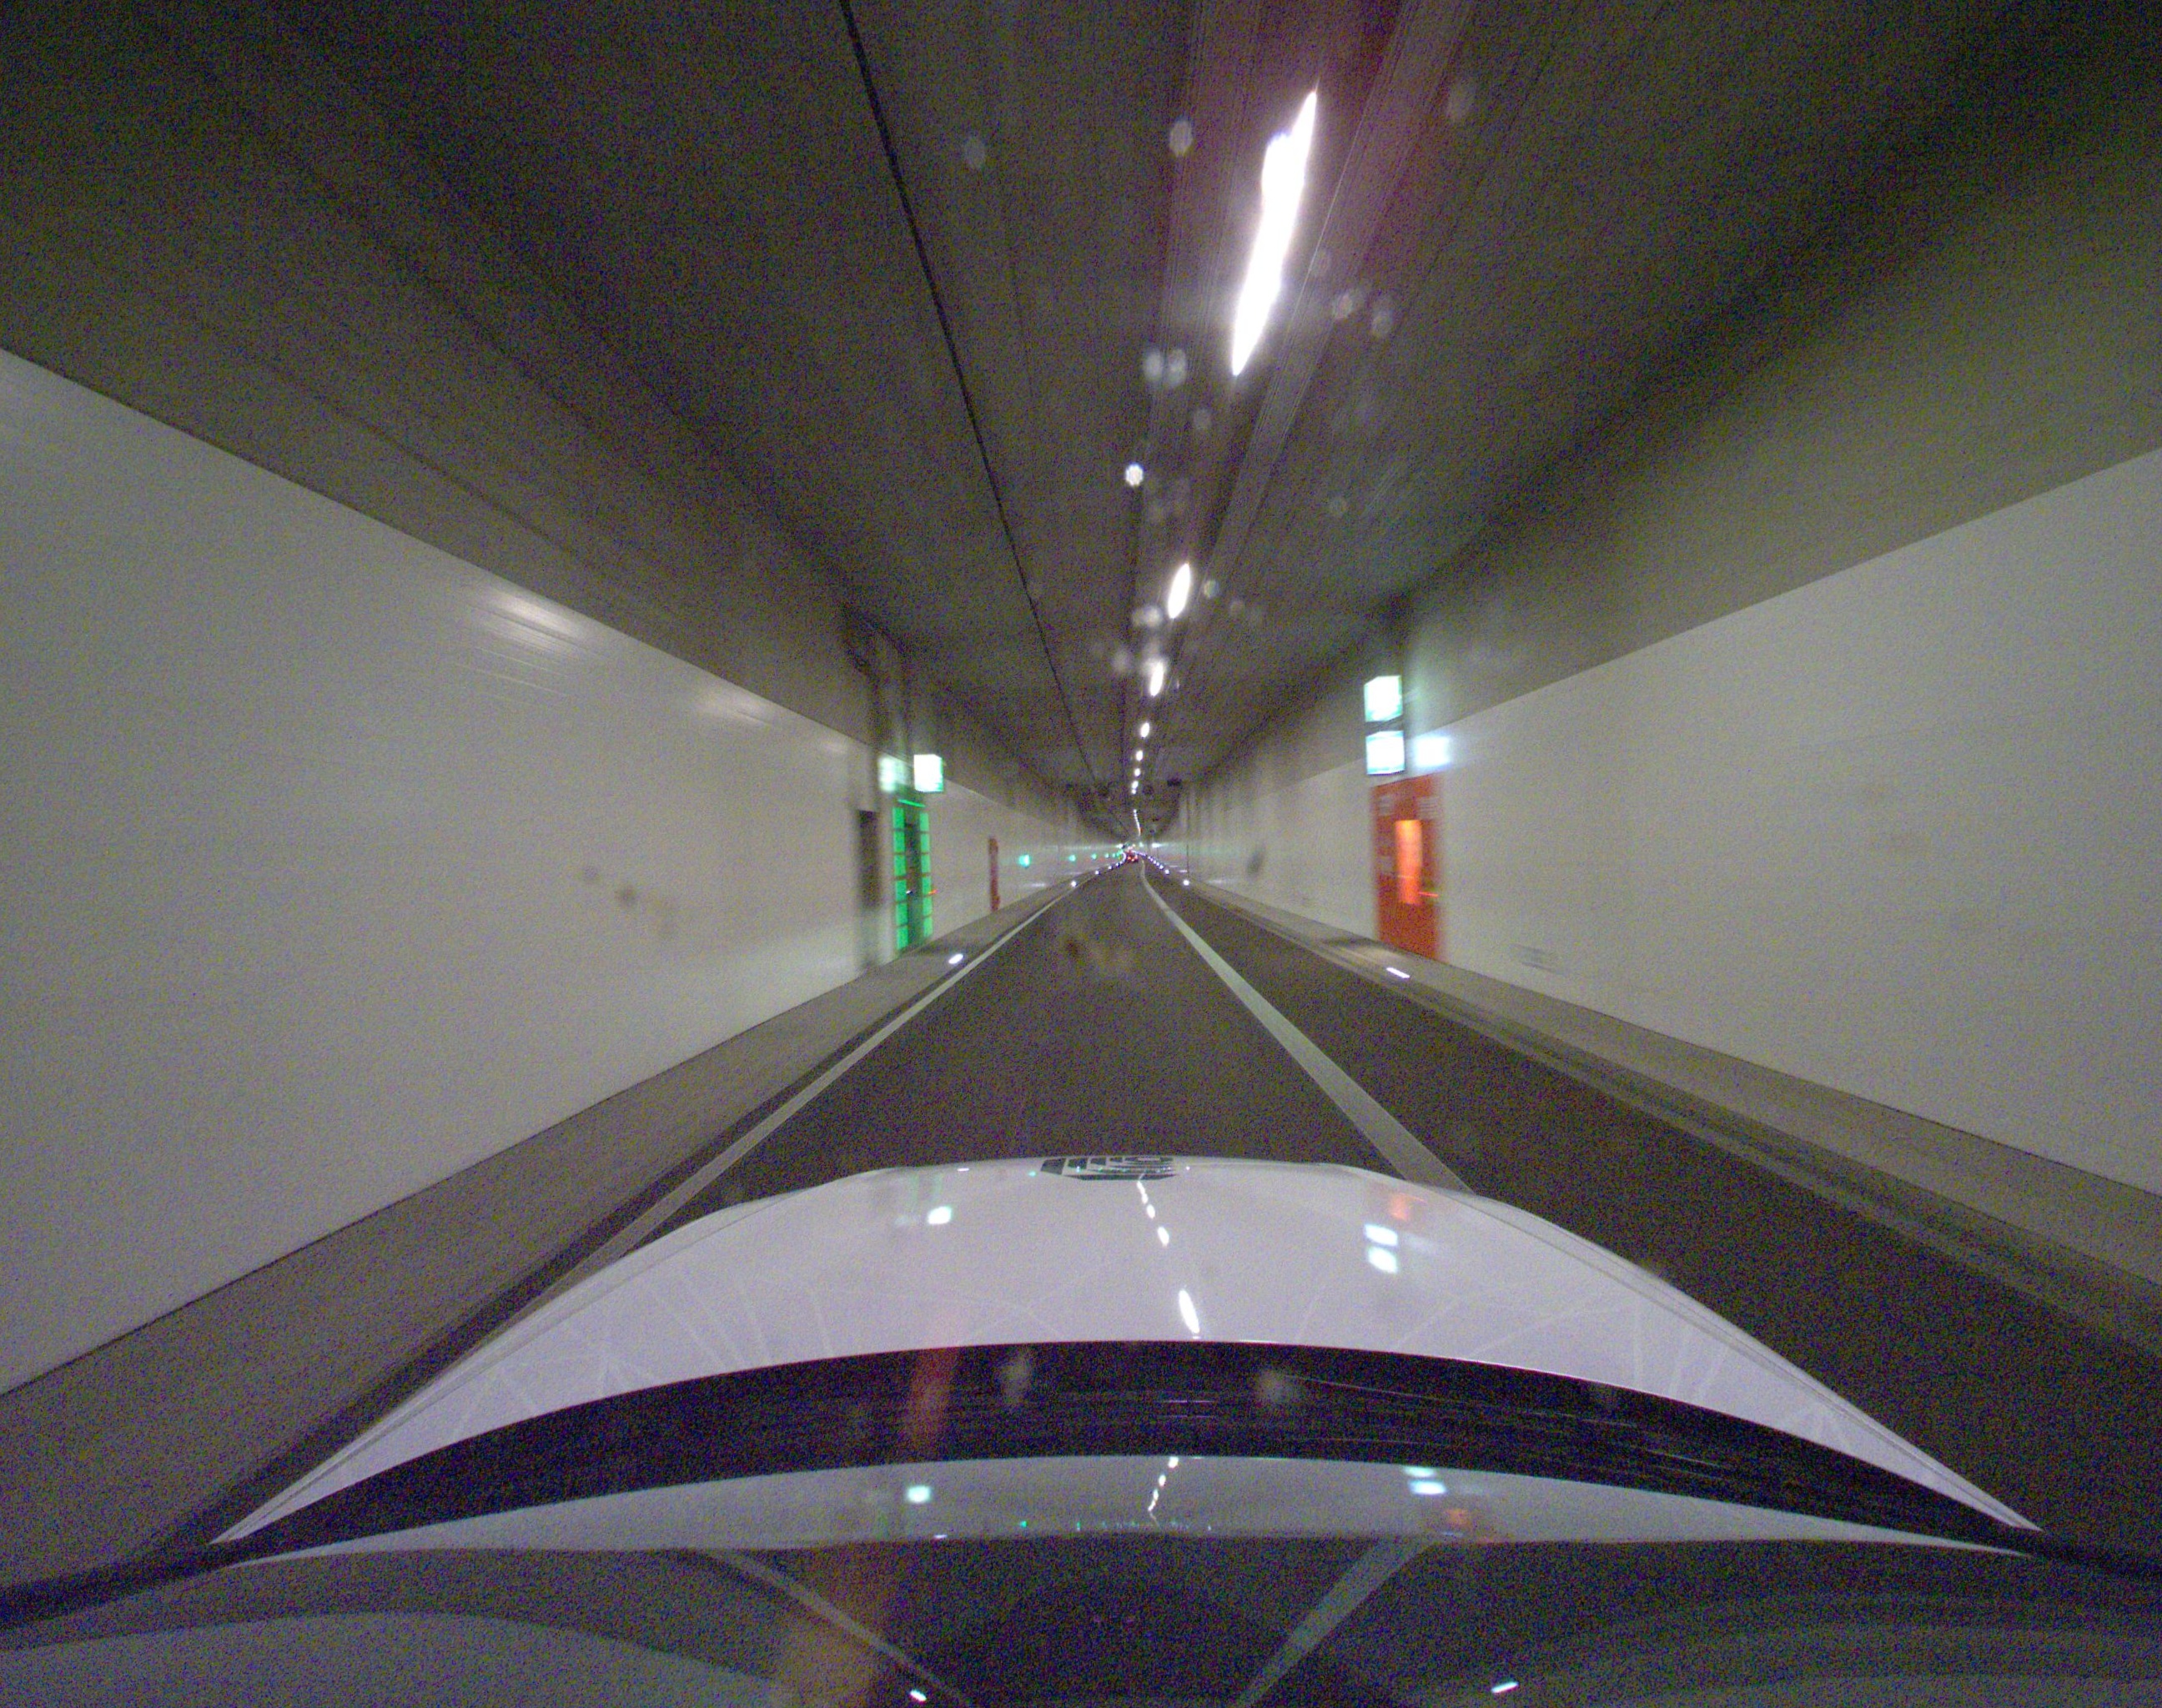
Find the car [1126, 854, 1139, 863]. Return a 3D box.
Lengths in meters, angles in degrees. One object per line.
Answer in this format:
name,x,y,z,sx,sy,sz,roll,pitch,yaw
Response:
car,8.251,0.725,131.891,1.986,1.420,4.002,0,0,2
